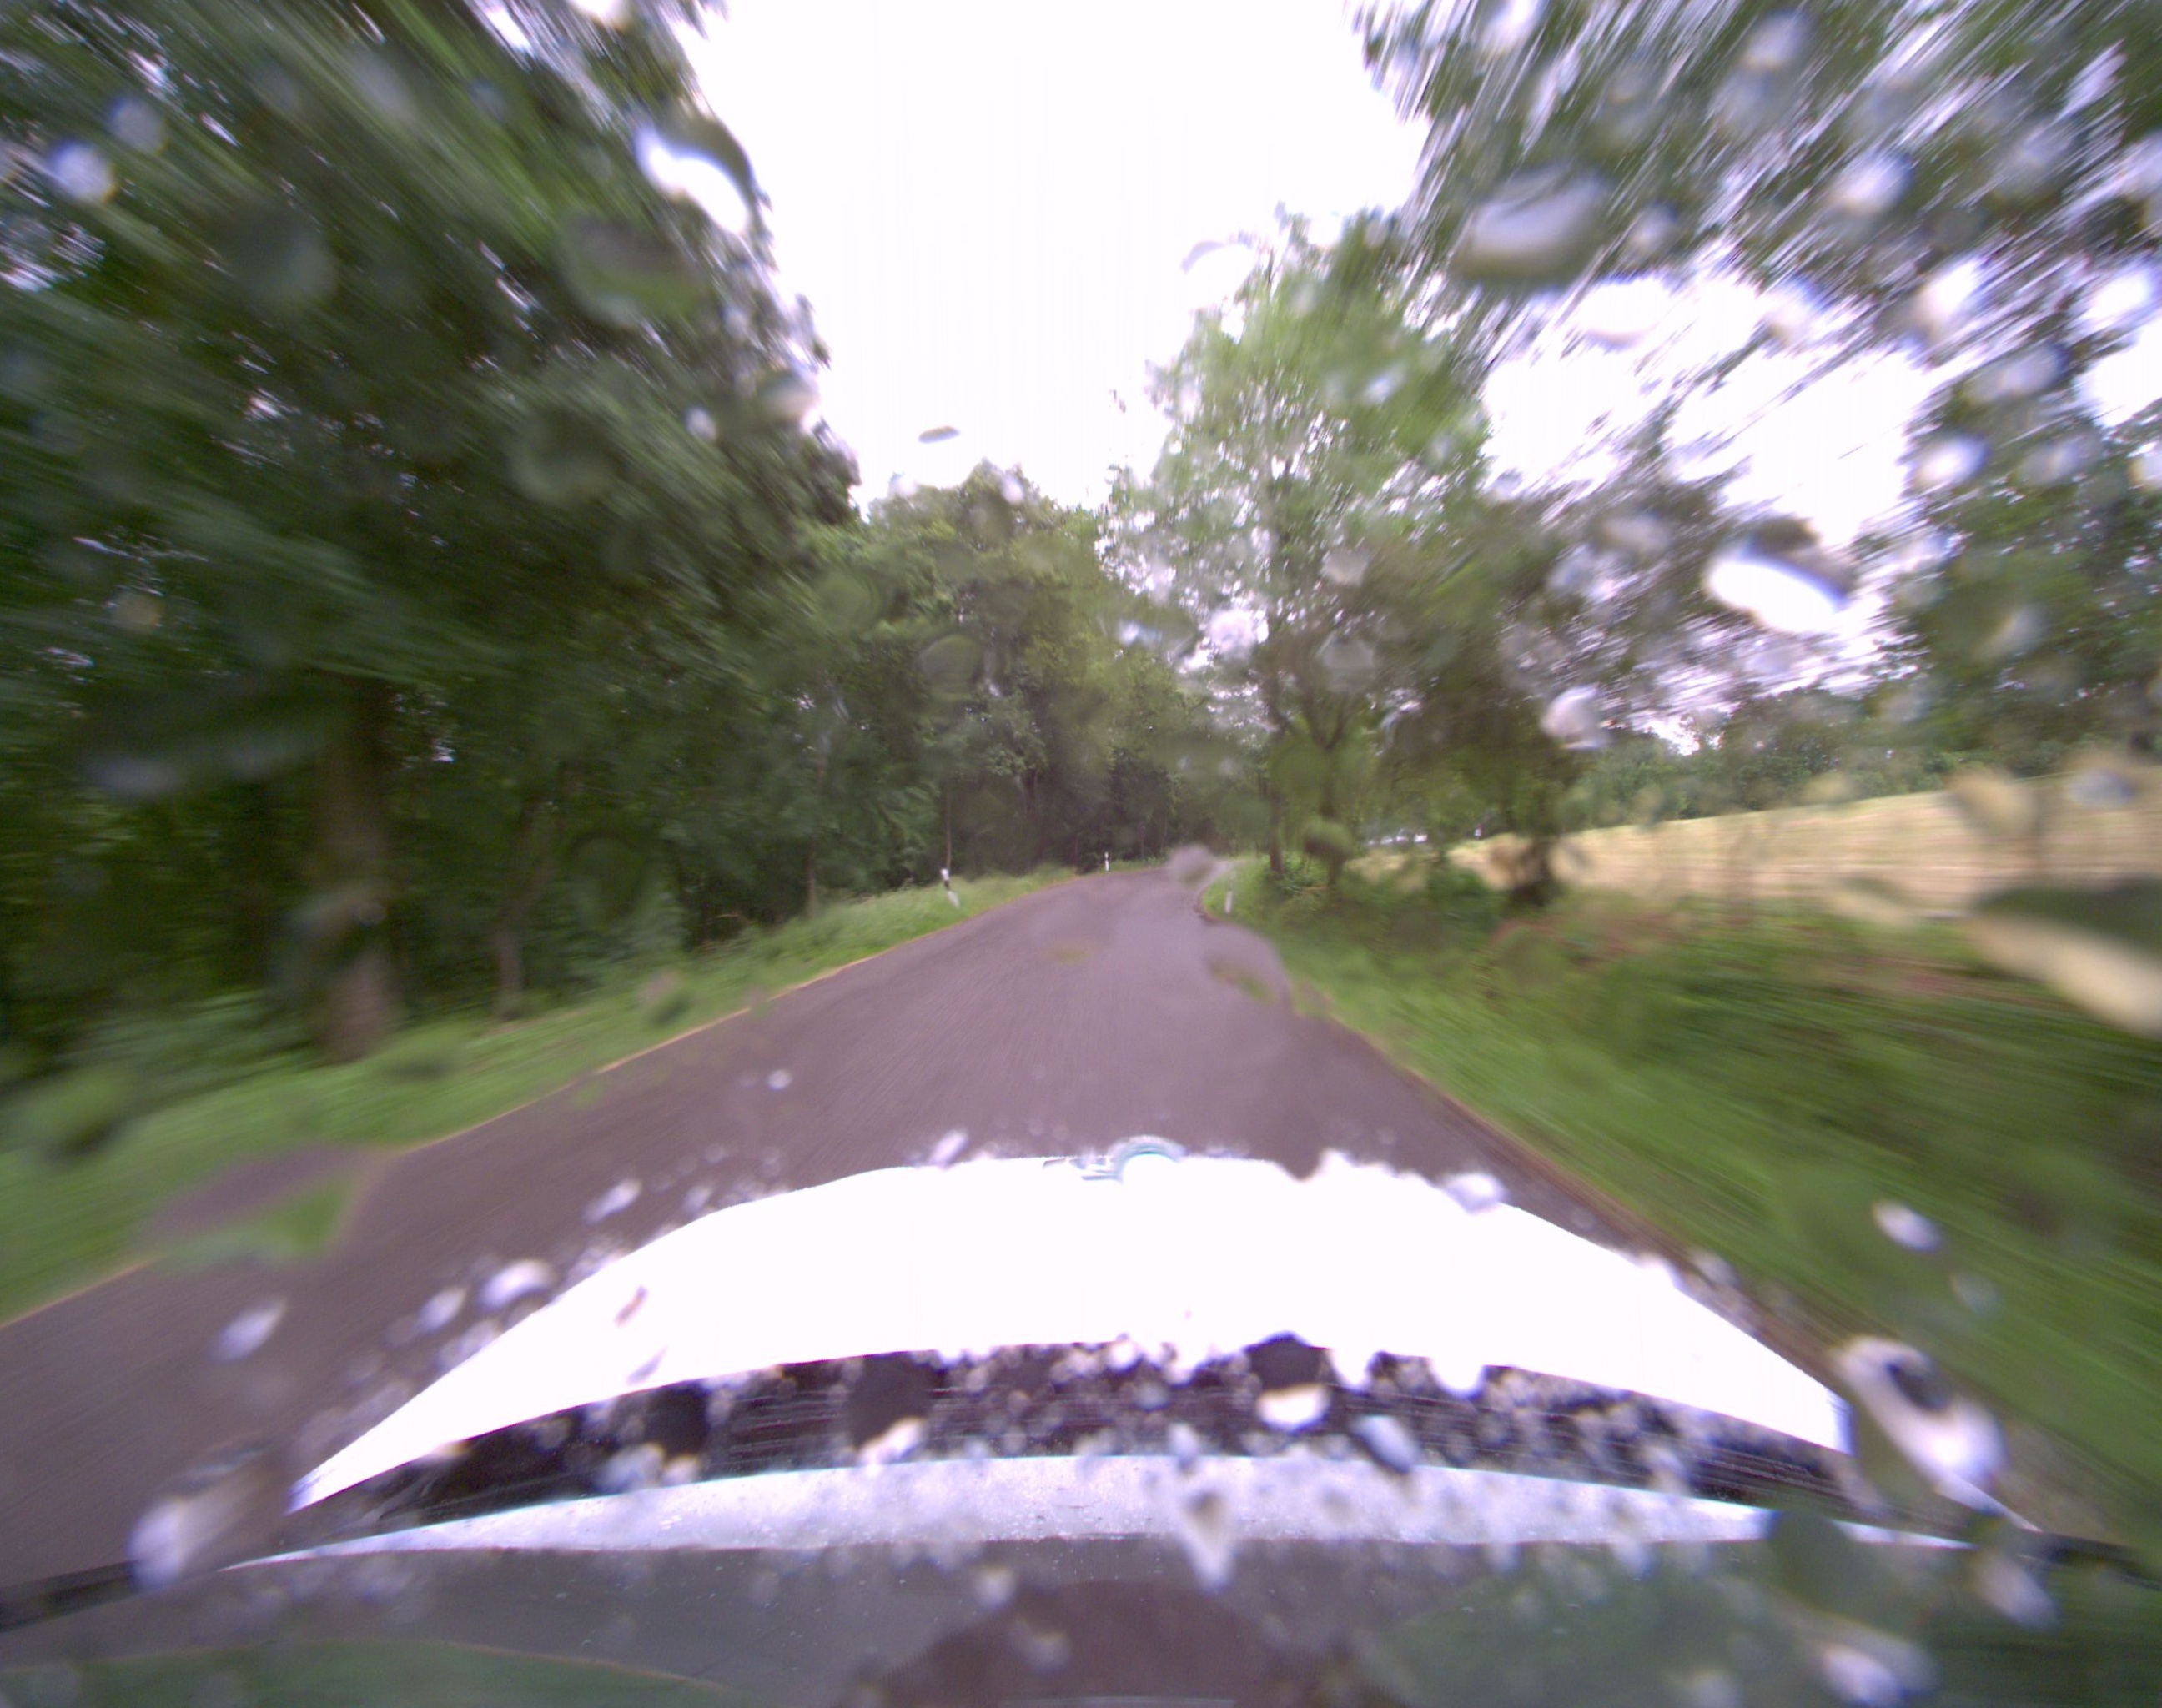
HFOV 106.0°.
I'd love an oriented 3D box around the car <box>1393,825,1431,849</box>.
[{"bbox_3d":[40.579,-2.118,99.759,2.251,2.696,6.087,-3,1,43],"label":"car"}]
